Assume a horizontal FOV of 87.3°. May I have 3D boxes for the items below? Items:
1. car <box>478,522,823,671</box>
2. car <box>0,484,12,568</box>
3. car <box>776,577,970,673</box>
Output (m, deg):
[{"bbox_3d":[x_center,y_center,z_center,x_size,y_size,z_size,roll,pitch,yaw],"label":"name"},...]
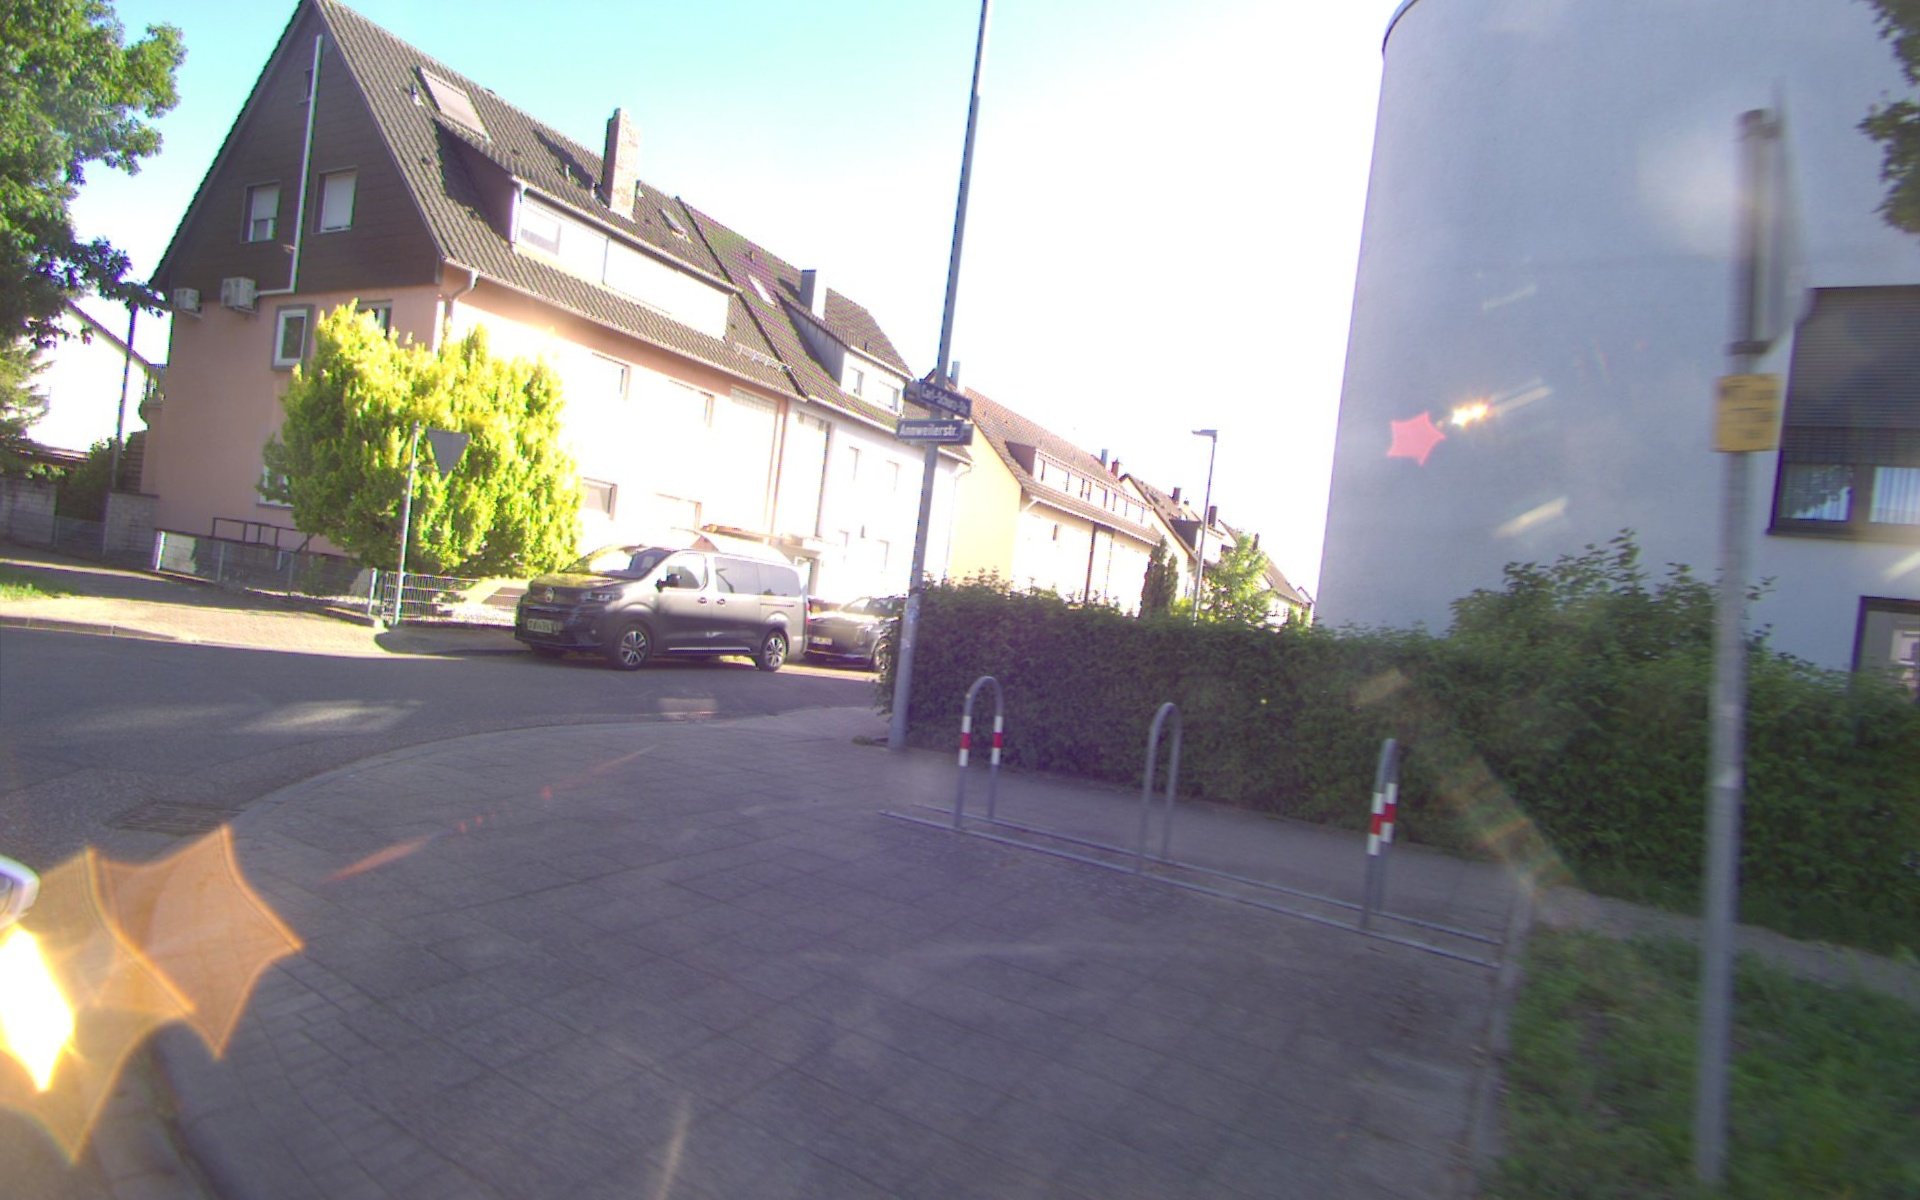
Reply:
[{"bbox_3d":[-4.626,0.078,16.060,2.036,1.870,5.251,6,-1,27],"label":"car"},{"bbox_3d":[-17.515,-1.444,15.380,1.815,1.385,3.993,7,0,30],"label":"car"},{"bbox_3d":[-1.722,0.603,21.457,1.847,1.683,4.318,5,-1,30],"label":"car"}]
